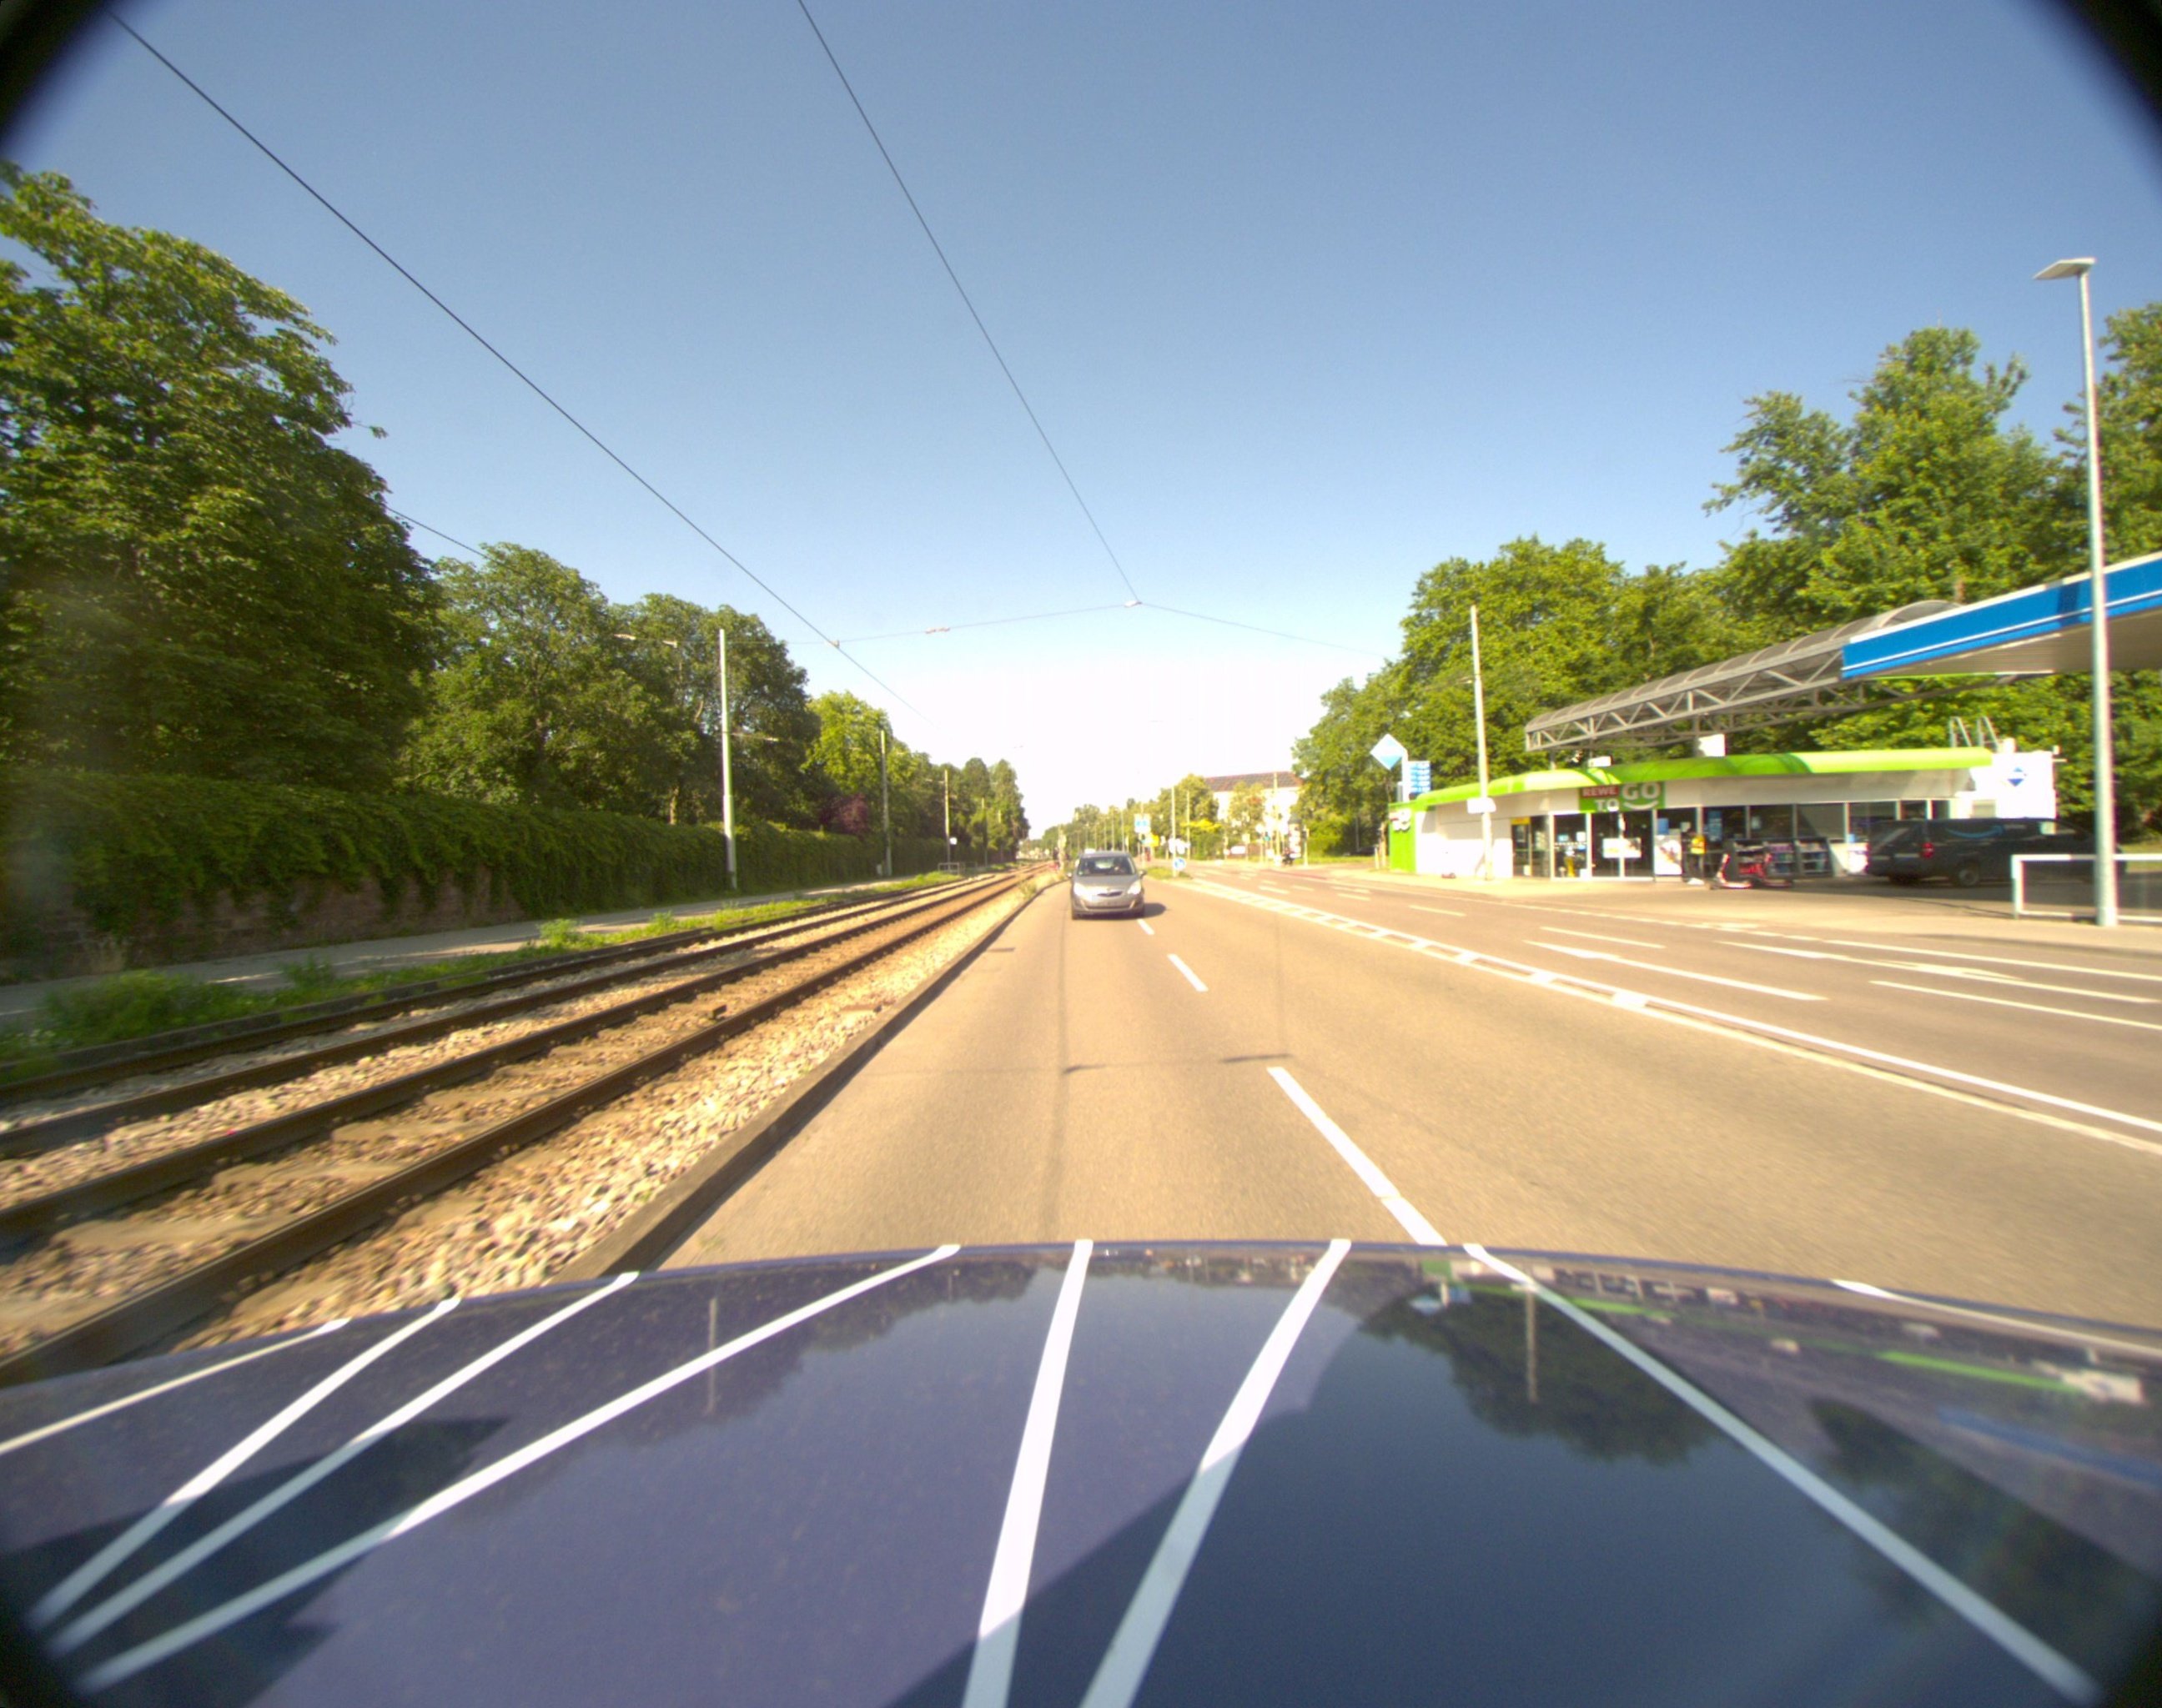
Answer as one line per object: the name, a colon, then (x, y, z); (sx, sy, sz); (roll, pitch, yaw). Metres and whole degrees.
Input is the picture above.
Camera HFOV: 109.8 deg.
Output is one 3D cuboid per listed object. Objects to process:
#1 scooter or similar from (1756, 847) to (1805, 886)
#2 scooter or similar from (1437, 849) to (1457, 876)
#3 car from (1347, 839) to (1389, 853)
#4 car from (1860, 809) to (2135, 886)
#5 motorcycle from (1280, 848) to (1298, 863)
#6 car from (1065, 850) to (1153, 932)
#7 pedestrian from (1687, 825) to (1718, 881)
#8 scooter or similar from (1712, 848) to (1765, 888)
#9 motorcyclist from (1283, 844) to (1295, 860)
scooter or similar: (20.307, 0.365, 22.071); (1.031, 1.103, 0.350); (-2, 1, 7)
scooter or similar: (16.170, 0.379, 33.568); (0.350, 1.154, 1.144); (-2, 1, 2)
car: (32.795, -0.929, 86.892); (4.196, 1.434, 1.690); (-2, 1, 3)
car: (25.288, -0.170, 21.132); (5.082, 1.929, 1.858); (-2, 1, 4)
motorcycle: (17.992, 0.145, 65.647); (0.732, 1.221, 2.268); (-1, 1, 34)
car: (0.591, 0.764, 17.609); (1.730, 1.574, 3.762); (-3, 1, 0)
pedestrian: (19.360, -0.035, 23.675); (0.661, 1.721, 0.606); (-1, 1, 32)
scooter or similar: (19.189, 0.409, 22.170); (1.143, 1.110, 0.350); (-2, 1, 10)
motorcyclist: (17.973, -0.190, 65.627); (0.732, 1.380, 0.866); (-1, 1, 34)
